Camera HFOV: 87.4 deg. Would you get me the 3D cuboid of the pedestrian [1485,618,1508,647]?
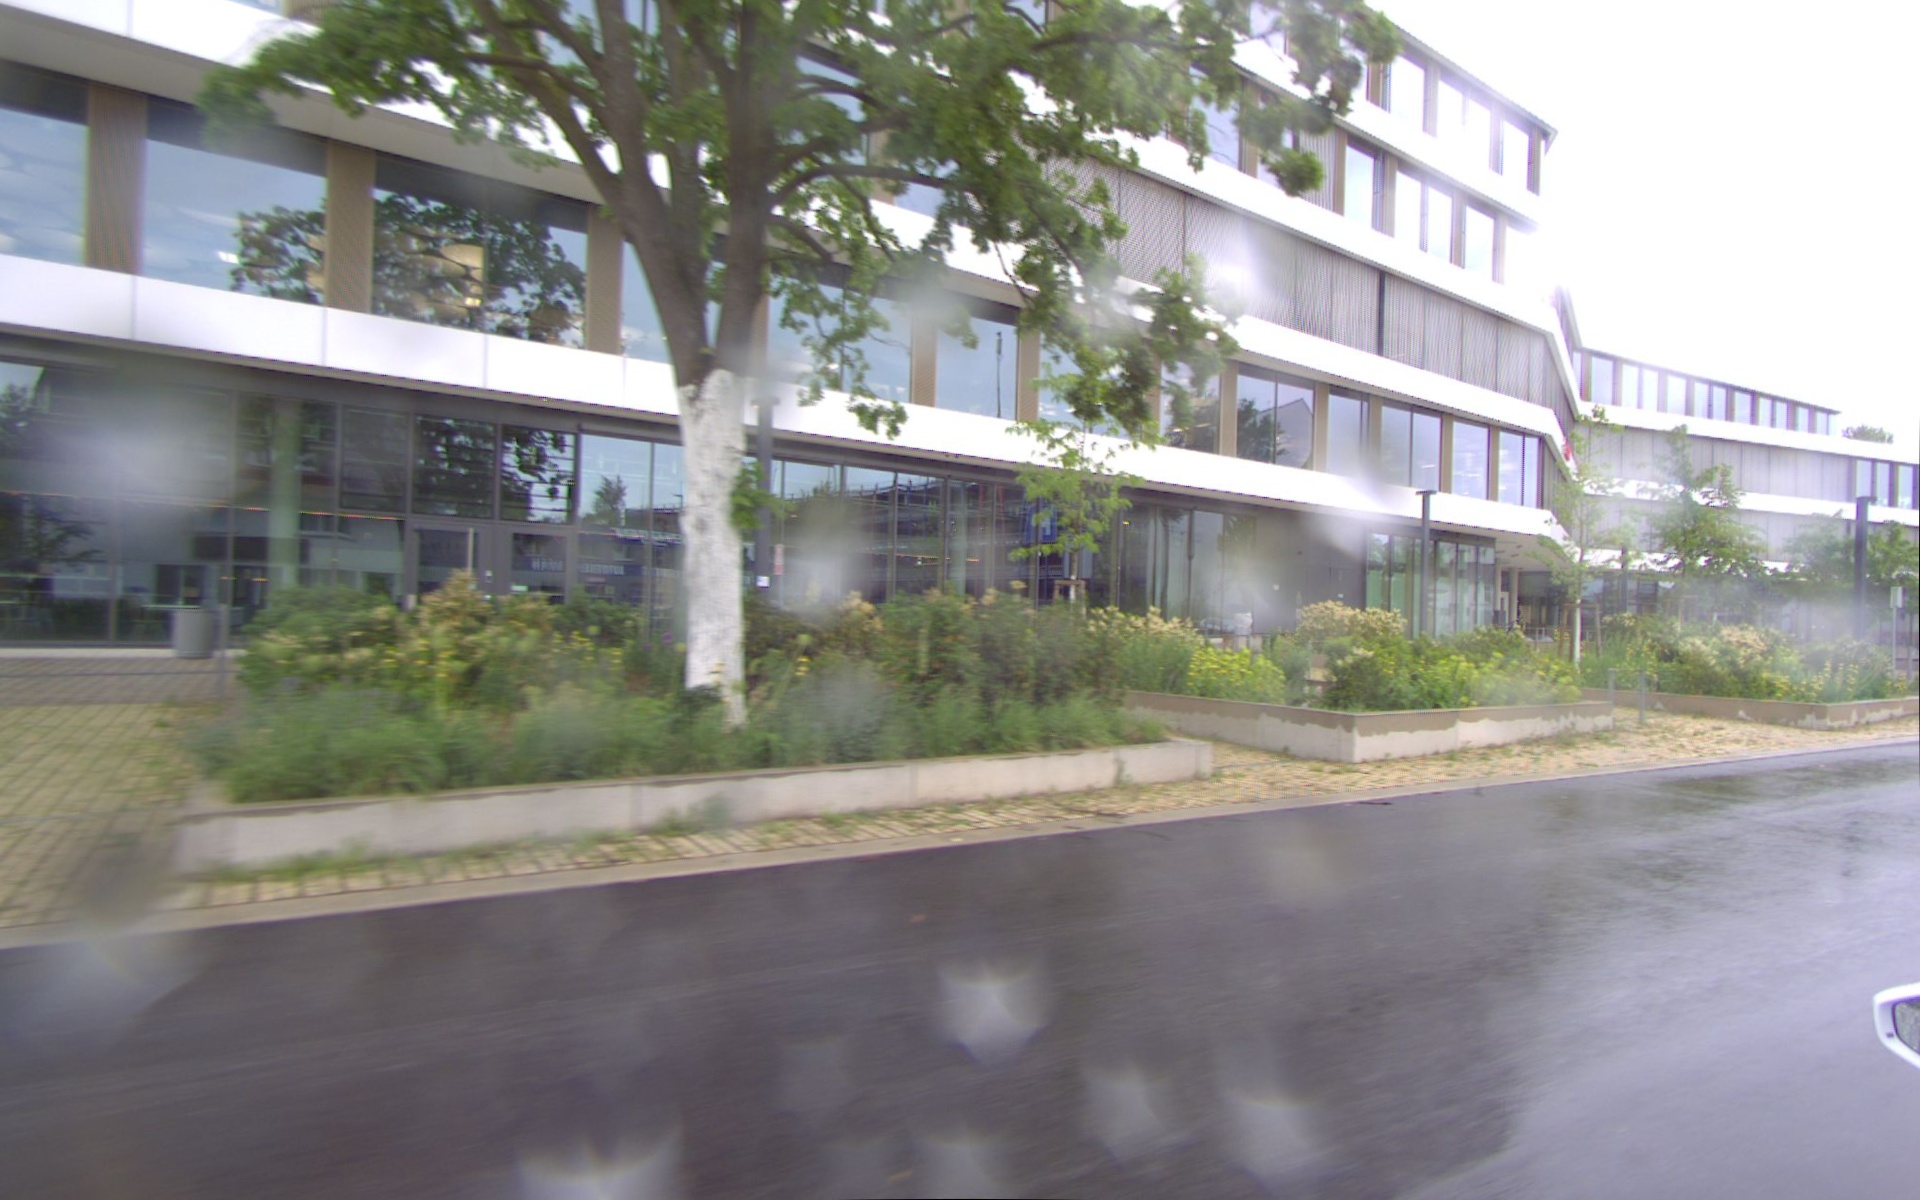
[{"bbox_3d":[26.897,1.612,50.386,0.883,1.332,1.059,6,2,30],"label":"pedestrian"}]
